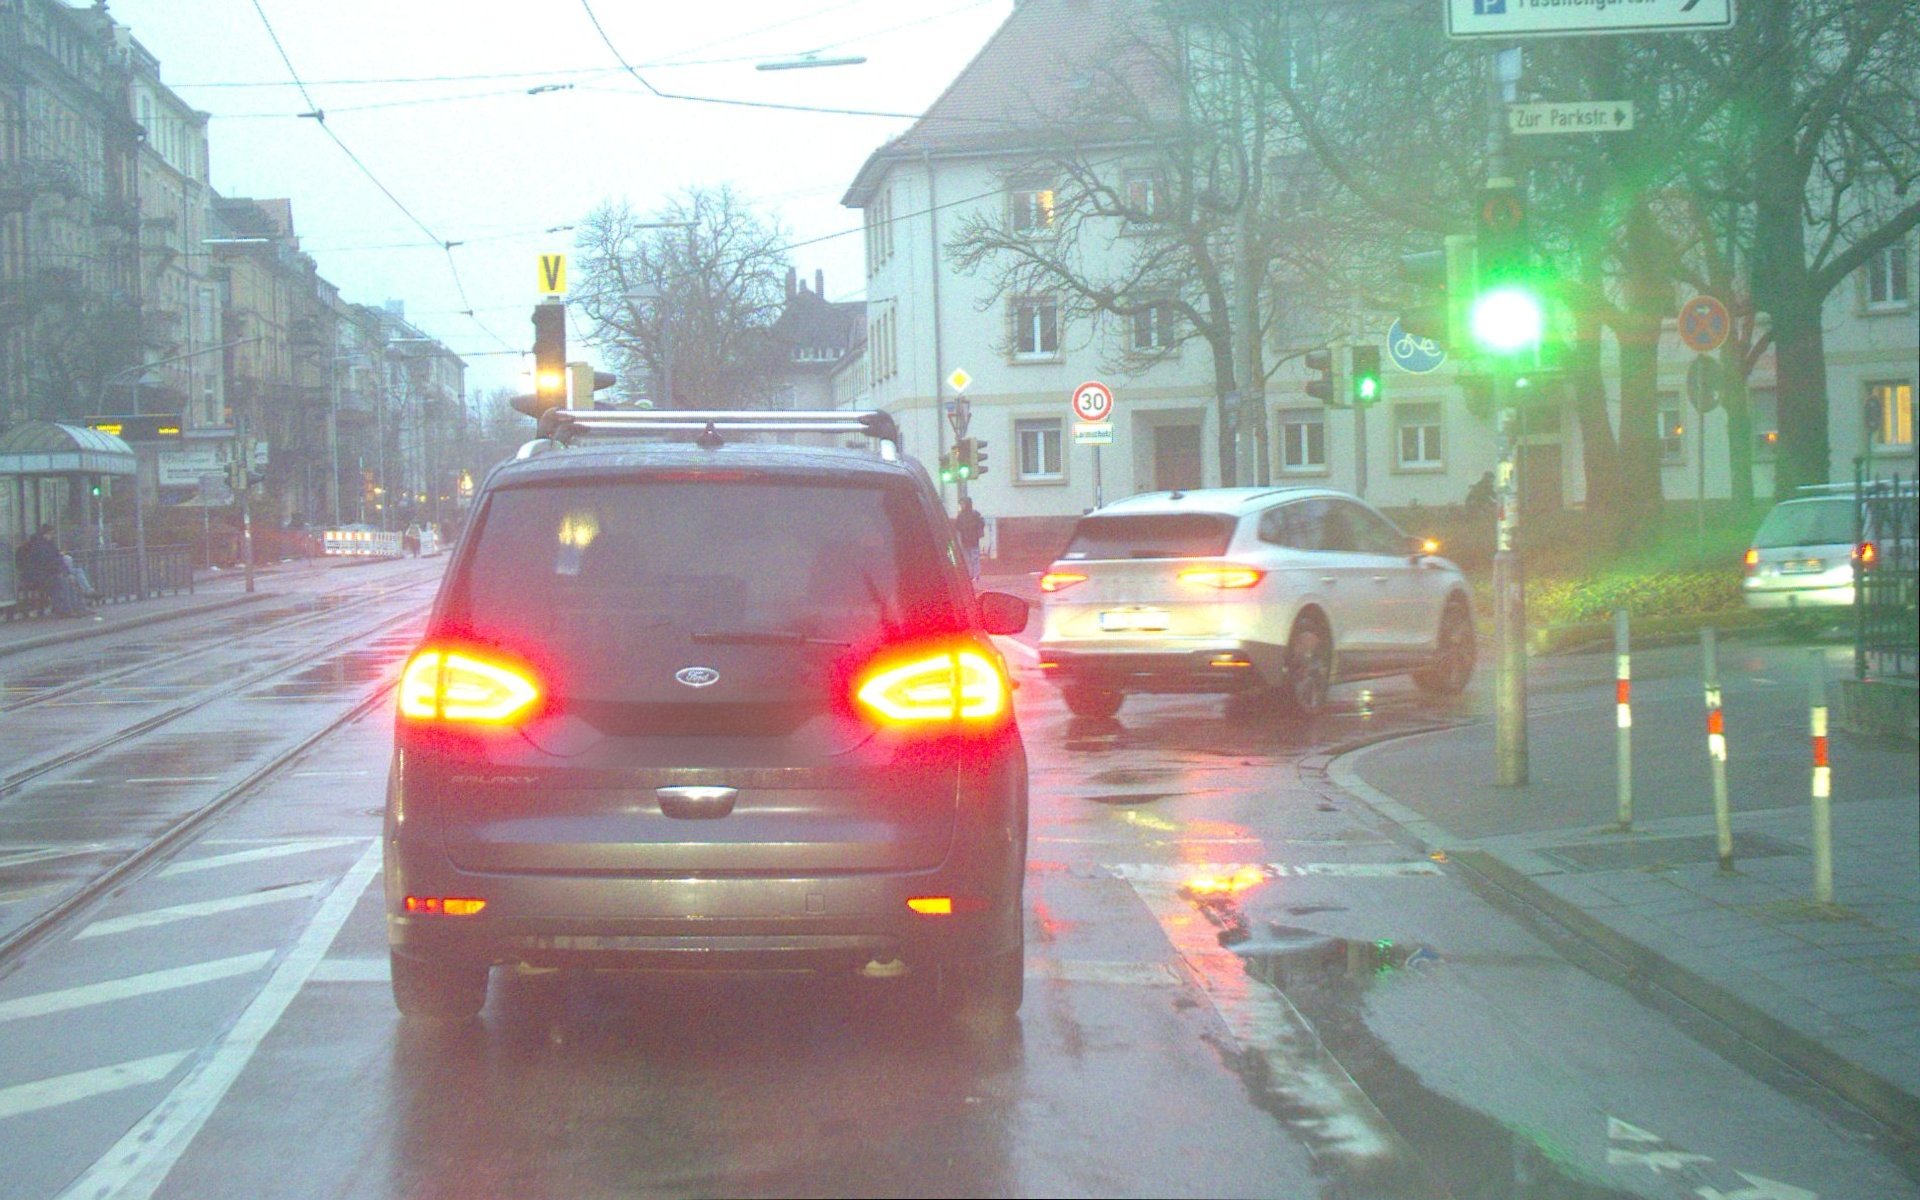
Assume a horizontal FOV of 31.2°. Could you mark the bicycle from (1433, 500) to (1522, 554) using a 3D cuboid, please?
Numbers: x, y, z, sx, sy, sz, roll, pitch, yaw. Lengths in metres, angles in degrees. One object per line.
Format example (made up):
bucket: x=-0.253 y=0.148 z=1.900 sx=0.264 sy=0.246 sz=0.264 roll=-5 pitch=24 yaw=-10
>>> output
bicycle: x=11.741 y=-1.659 z=78.049 sx=1.853 sy=1.179 sz=0.713 roll=0 pitch=2 yaw=28

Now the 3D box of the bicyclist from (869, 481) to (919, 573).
bicyclist: x=-1.215 y=-1.354 z=63.373 sx=0.716 sy=1.657 sz=1.057 roll=2 pitch=1 yaw=-9

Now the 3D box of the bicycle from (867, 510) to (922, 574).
bicycle: x=-1.215 y=-1.077 z=63.313 sx=0.716 sy=1.108 sz=1.942 roll=2 pitch=1 yaw=-9

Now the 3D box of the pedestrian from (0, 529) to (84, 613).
pedestrian: x=-13.366 y=-0.427 z=49.991 sx=1.047 sy=1.196 sz=0.885 roll=-1 pitch=1 yaw=-4

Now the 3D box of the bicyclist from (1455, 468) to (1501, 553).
bicyclist: x=11.758 y=-2.032 z=78.033 sx=0.808 sy=1.912 sz=0.707 roll=-1 pitch=2 yaw=27

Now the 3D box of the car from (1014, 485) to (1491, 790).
car: x=2.217 y=0.204 z=24.906 sx=1.712 sy=2.007 sz=4.292 roll=0 pitch=1 yaw=31

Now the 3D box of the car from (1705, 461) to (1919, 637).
car: x=9.276 y=-0.526 z=34.410 sx=1.713 sy=1.656 sz=3.990 roll=0 pitch=1 yaw=44

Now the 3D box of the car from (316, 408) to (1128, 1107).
car: x=-0.730 y=0.349 z=11.275 sx=2.103 sy=1.810 sz=4.661 roll=0 pitch=2 yaw=-3

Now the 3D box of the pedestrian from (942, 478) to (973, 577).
pedestrian: x=-0.050 y=-1.477 z=70.103 sx=0.596 sy=2.007 sz=0.631 roll=-1 pitch=1 yaw=-1
